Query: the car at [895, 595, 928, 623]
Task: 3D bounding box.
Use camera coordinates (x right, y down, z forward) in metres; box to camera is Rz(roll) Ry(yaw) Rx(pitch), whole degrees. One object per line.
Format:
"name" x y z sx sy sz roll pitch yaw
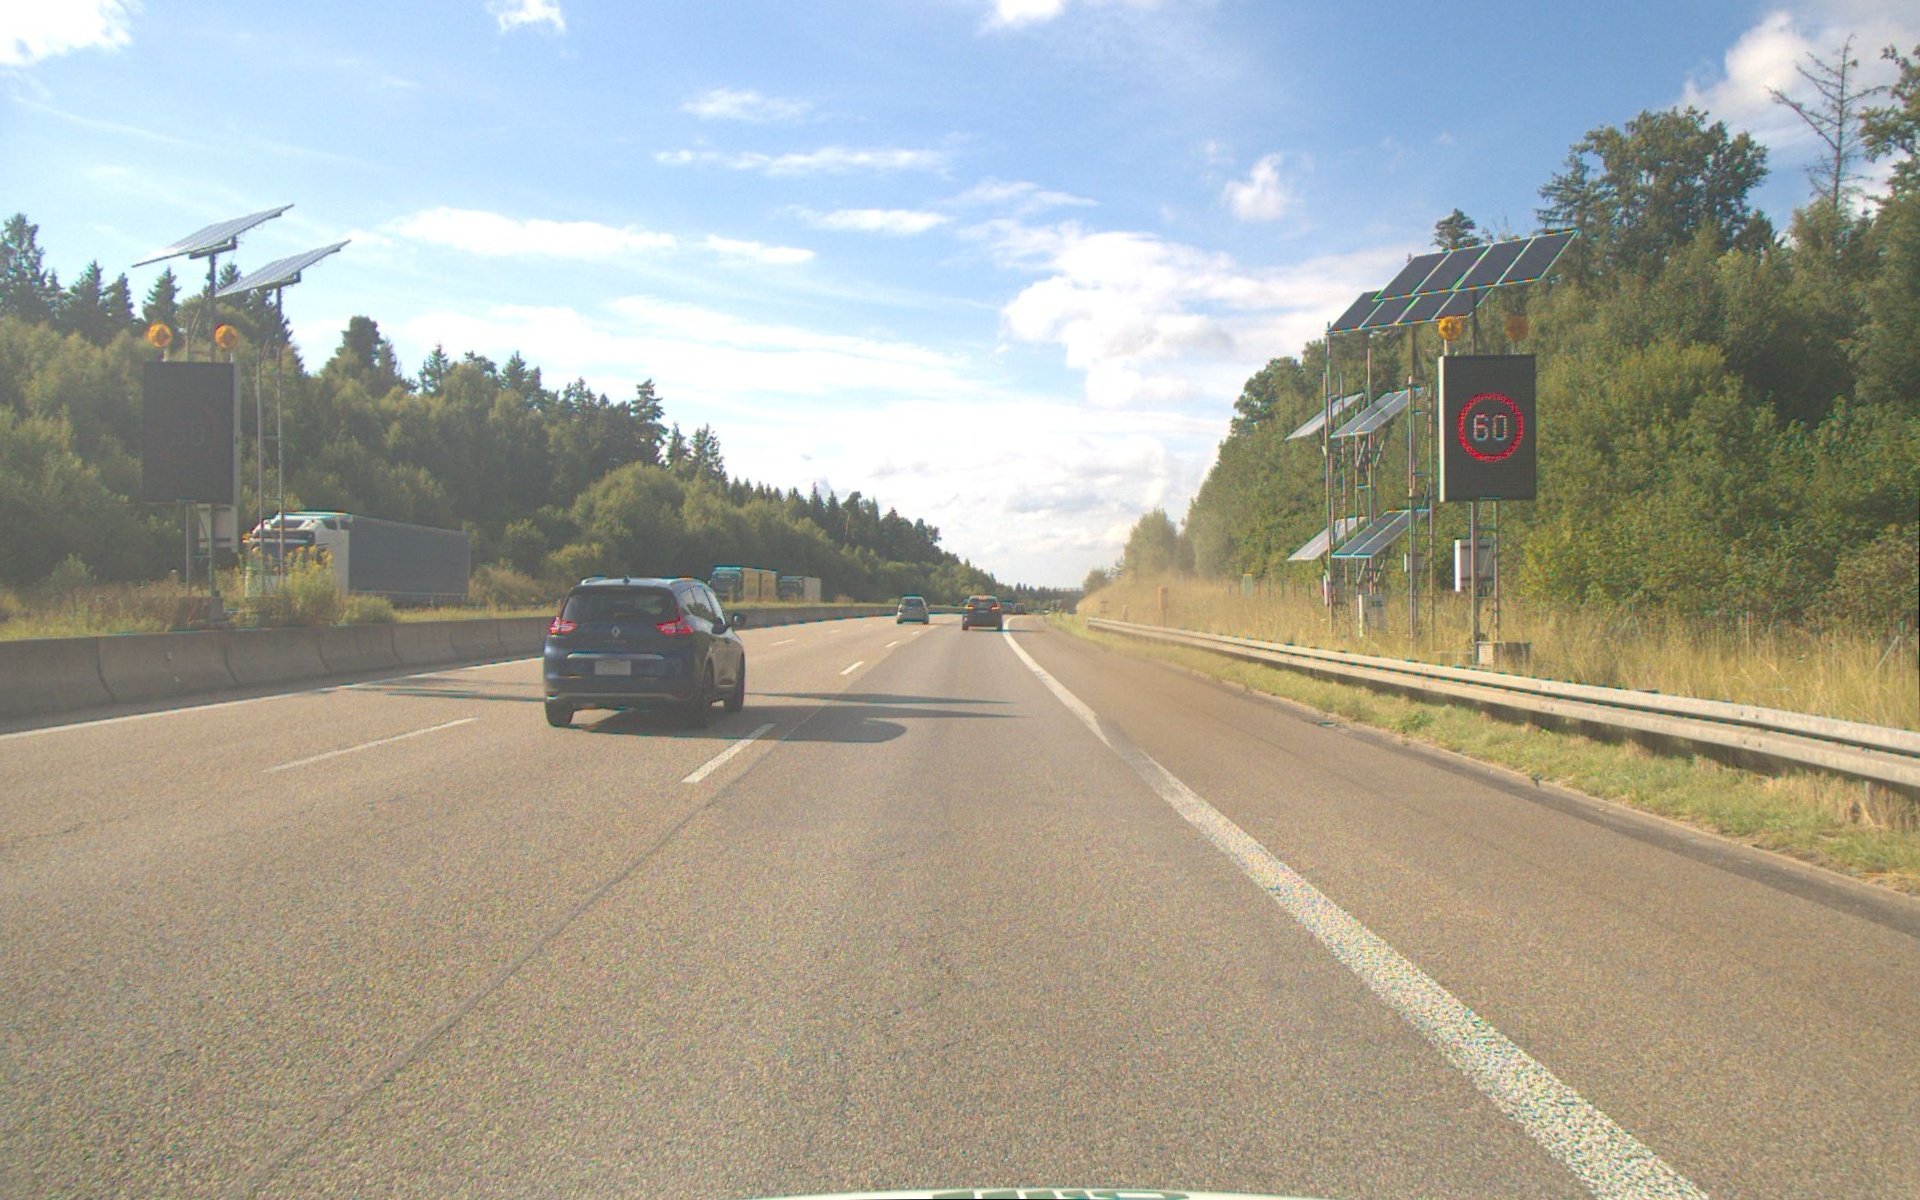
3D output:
"car" -2.834 0.485 96.223 1.836 1.523 3.878 1 1 -2

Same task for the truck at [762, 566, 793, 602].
"truck" -19.621 -1.702 178.335 2.638 3.814 5.170 1 0 0

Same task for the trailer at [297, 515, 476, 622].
"trailer" -22.323 -1.145 65.399 2.232 3.794 13.276 1 0 1

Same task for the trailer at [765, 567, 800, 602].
"trailer" -19.602 -1.723 183.015 2.624 3.783 10.006 1 0 0

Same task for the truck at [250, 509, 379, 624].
"truck" -22.433 -1.120 57.766 2.232 3.794 5.532 1 0 1

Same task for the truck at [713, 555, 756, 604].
"truck" -19.568 -1.741 143.793 2.594 4.157 6.418 1 0 3

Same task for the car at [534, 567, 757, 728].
"car" -3.699 0.510 20.250 1.953 1.736 4.528 1 0 -2

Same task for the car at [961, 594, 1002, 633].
"car" 1.050 0.615 78.982 1.835 1.704 3.891 1 1 2

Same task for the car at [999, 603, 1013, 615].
"car" 6.617 1.311 238.398 1.834 1.523 3.882 1 1 5

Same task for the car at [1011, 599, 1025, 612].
"car" 7.711 0.722 220.072 1.775 1.735 4.000 0 1 -1
